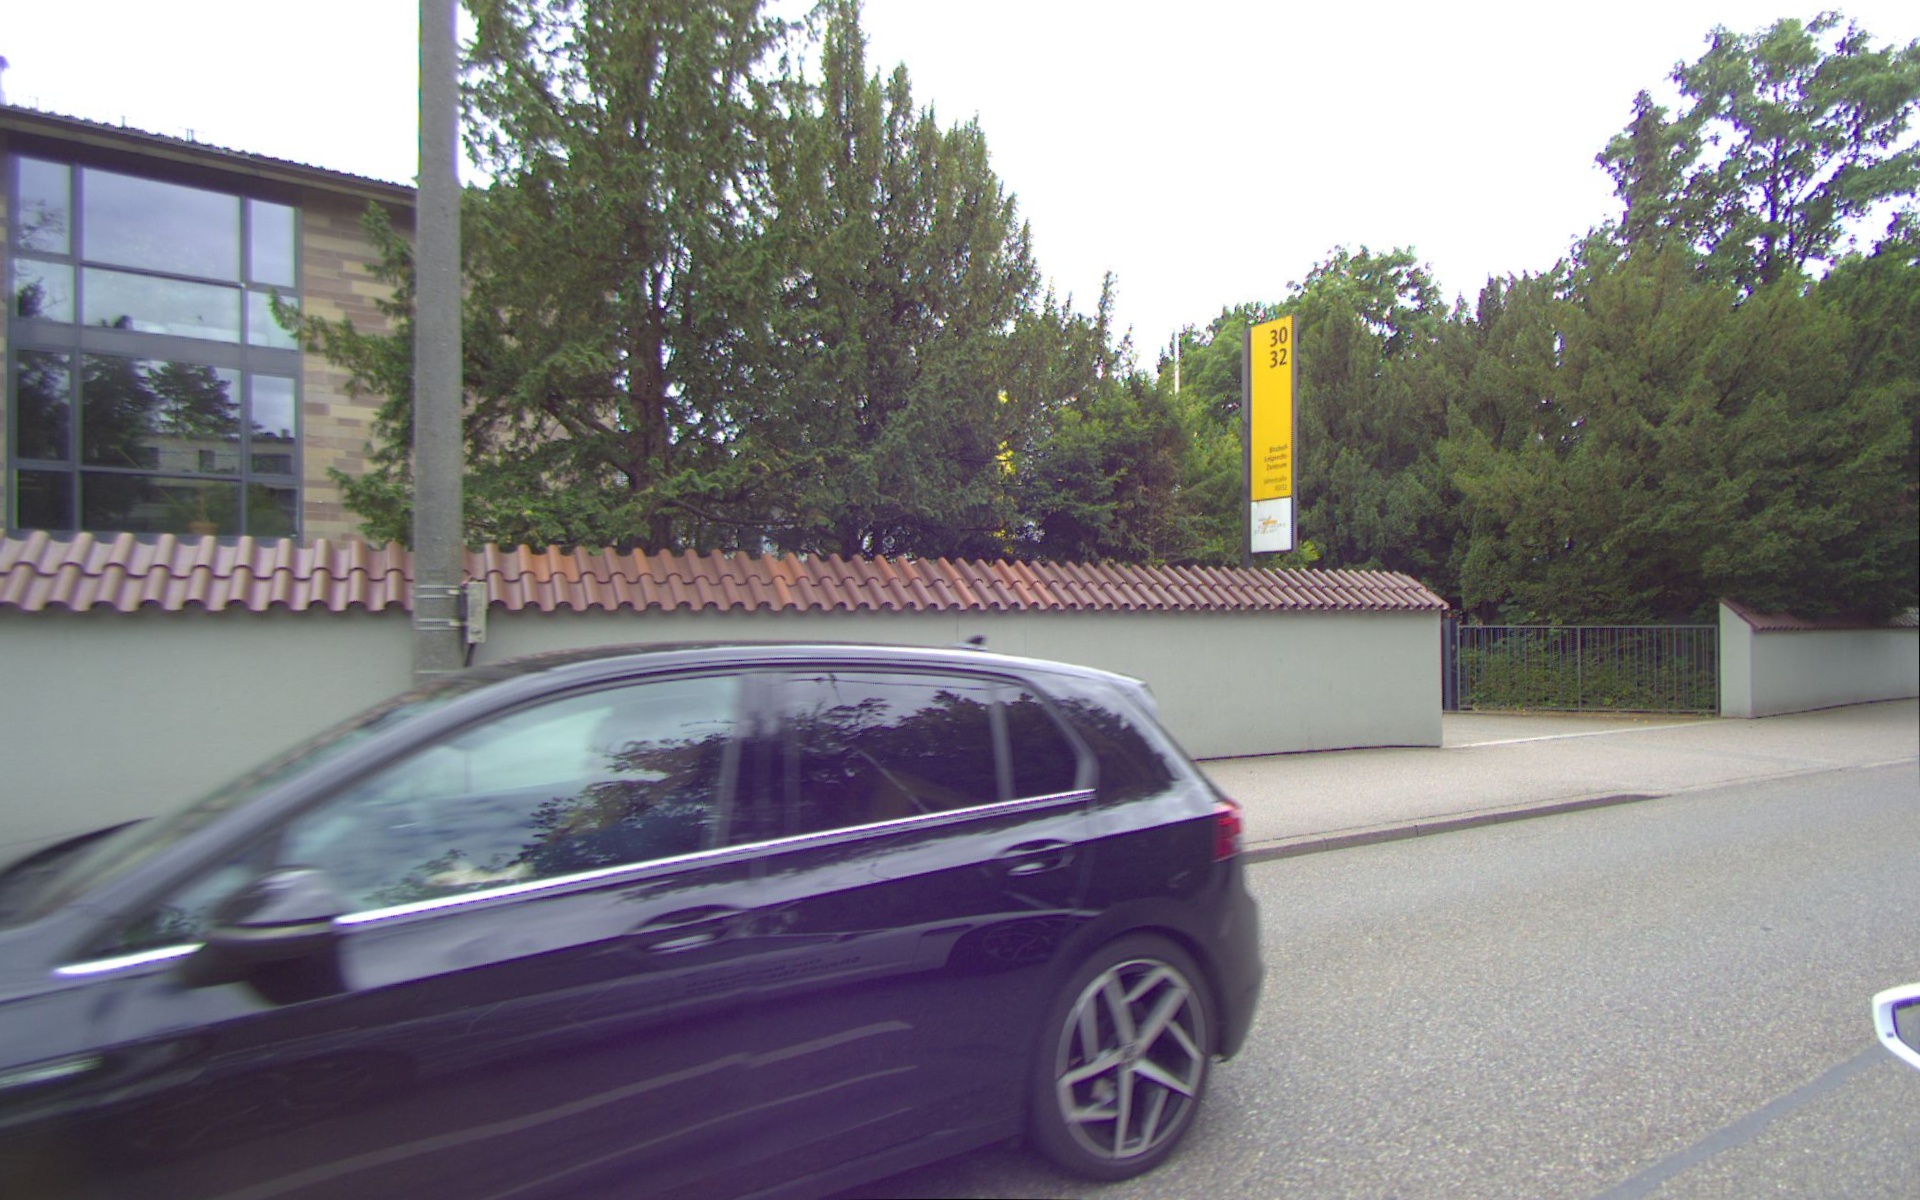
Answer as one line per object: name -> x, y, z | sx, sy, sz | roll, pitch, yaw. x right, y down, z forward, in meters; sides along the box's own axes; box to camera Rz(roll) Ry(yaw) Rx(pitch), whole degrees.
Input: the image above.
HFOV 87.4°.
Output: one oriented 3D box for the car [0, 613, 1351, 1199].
car -> -0.910, 0.789, 2.806 | 3.957, 1.447, 1.775 | 1, -2, -33
